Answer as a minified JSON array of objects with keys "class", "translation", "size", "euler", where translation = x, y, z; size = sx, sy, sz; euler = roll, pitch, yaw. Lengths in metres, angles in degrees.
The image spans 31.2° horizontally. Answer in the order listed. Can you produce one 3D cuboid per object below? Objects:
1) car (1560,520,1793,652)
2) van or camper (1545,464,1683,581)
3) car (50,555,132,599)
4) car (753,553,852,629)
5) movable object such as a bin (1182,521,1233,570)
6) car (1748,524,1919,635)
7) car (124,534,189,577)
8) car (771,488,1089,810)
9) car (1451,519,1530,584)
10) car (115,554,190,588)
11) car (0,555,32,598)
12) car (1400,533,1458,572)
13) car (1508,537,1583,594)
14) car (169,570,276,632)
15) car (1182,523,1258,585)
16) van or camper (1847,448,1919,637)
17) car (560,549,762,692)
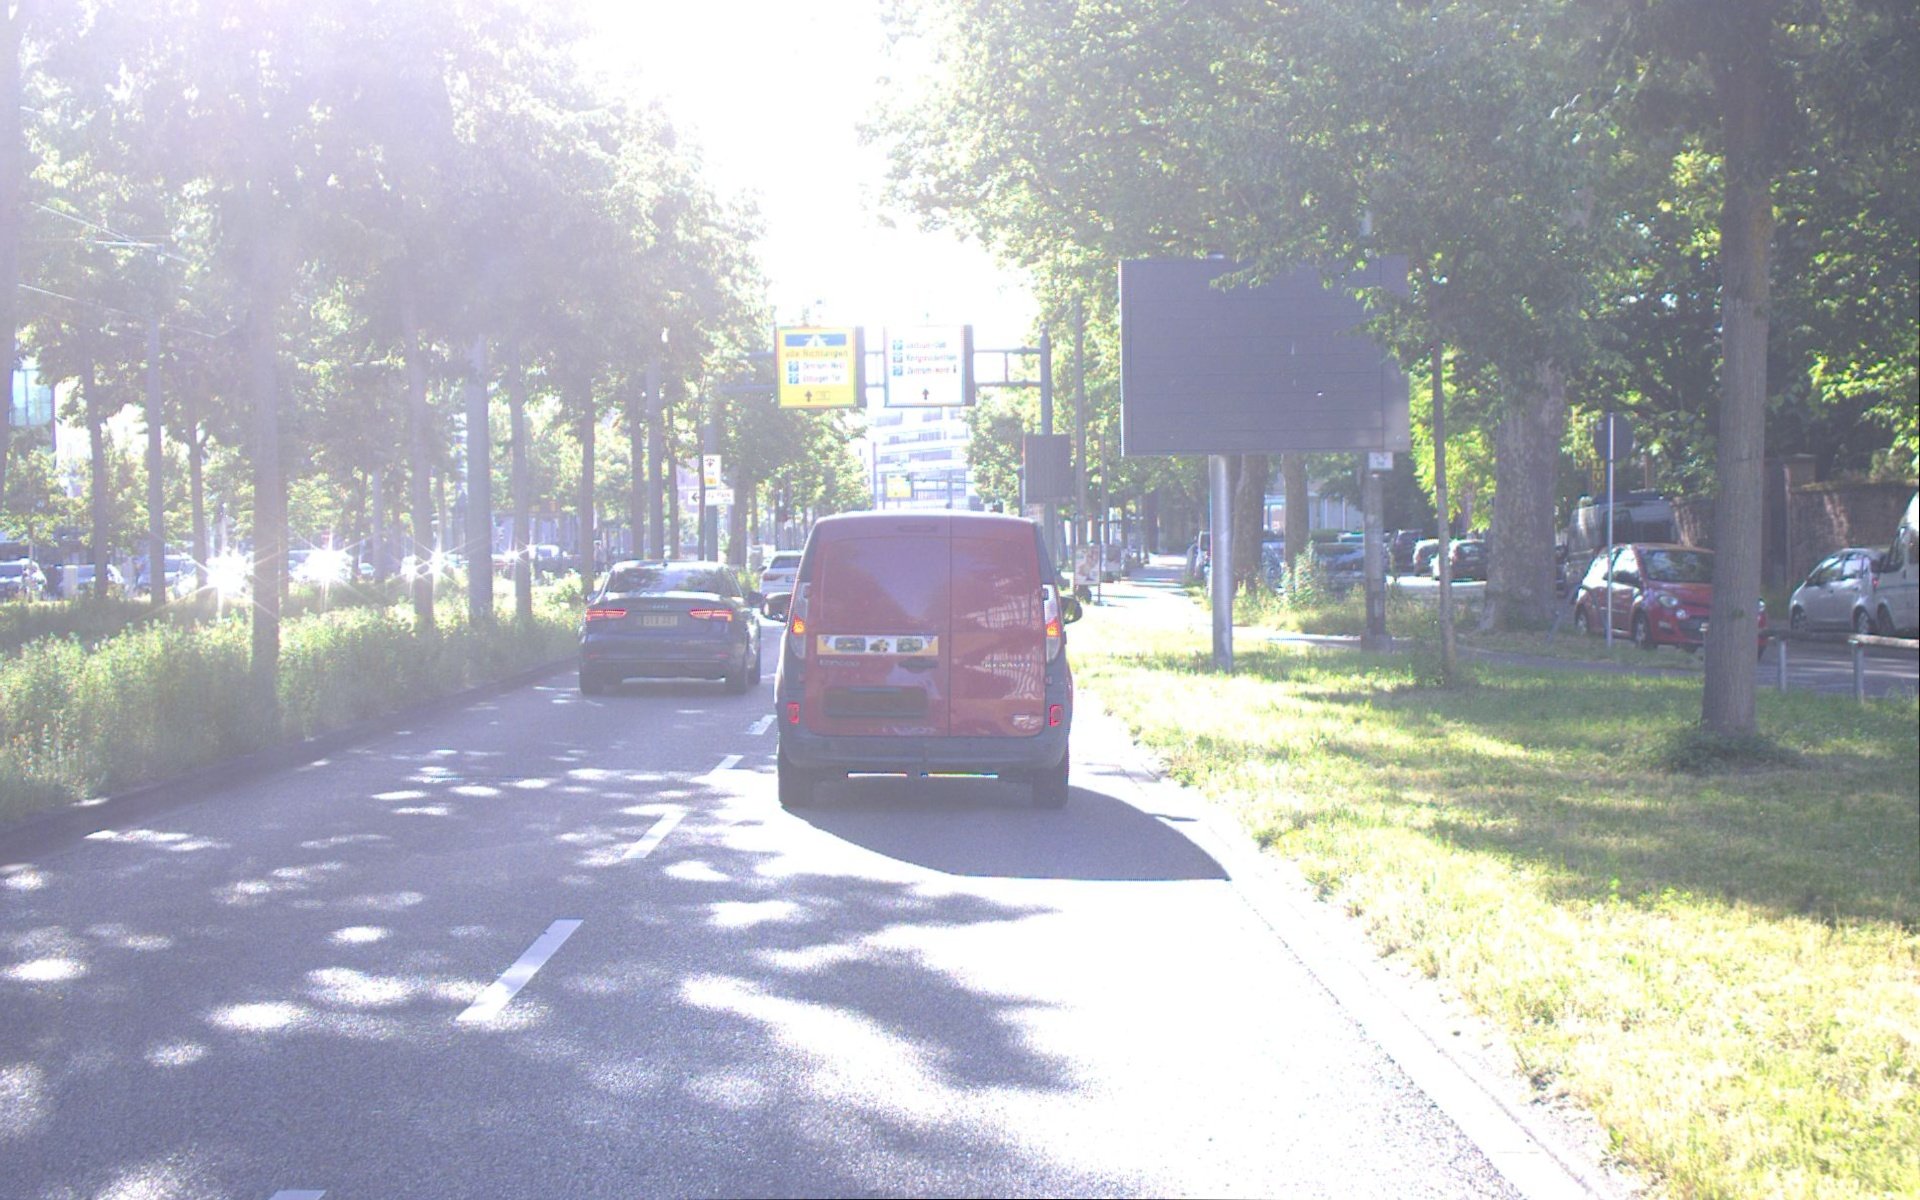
[{"class":"car","translation":[9.401,-0.192,45.391],"size":[1.993,1.634,4.001],"euler":[1,0,-4]},{"class":"van or camper","translation":[16.182,-1.938,85.428],"size":[2.557,2.675,6.564],"euler":[-3,1,4]},{"class":"car","translation":[-33.199,-0.879,131.397],"size":[1.879,1.615,4.611],"euler":[1,0,1]},{"class":"car","translation":[-3.473,-0.206,76.479],"size":[1.993,1.612,4.000],"euler":[1,0,0]},{"class":"movable object such as a bin","translation":[10.456,-2.296,145.308],"size":[2.081,2.007,2.136],"euler":[1,0,4]},{"class":"car","translation":[14.523,-0.356,55.746],"size":[1.839,1.612,4.001],"euler":[-4,2,-11]},{"class":"car","translation":[-39.249,-2.153,167.968],"size":[1.993,2.007,4.563],"euler":[1,0,1]},{"class":"car","translation":[-0.280,0.267,21.824],"size":[1.808,1.831,4.000],"euler":[1,0,-3]},{"class":"car","translation":[16.758,-1.531,108.750],"size":[2.087,2.007,4.942],"euler":[0,1,4]},{"class":"car","translation":[-32.931,-1.179,140.352],"size":[1.912,1.321,4.611],"euler":[1,0,1]},{"class":"car","translation":[-33.125,-0.803,117.042],"size":[1.879,1.430,4.611],"euler":[-1,1,-1]},{"class":"car","translation":[20.204,-2.035,148.297],"size":[1.993,1.634,4.000],"euler":[1,0,1]},{"class":"car","translation":[16.155,-0.948,94.993],"size":[1.690,1.467,3.757],"euler":[-3,0,5]},{"class":"car","translation":[-21.044,0.008,98.266],"size":[1.993,1.680,5.111],"euler":[1,0,-1]},{"class":"car","translation":[8.779,-1.548,116.429],"size":[2.190,2.007,5.820],"euler":[1,0,1]},{"class":"van or camper","translation":[14.779,-0.880,50.170],"size":[1.993,2.722,4.965],"euler":[-3,1,-3]},{"class":"car","translation":[-3.142,0.188,36.810],"size":[1.792,1.423,4.000],"euler":[1,0,0]}]
